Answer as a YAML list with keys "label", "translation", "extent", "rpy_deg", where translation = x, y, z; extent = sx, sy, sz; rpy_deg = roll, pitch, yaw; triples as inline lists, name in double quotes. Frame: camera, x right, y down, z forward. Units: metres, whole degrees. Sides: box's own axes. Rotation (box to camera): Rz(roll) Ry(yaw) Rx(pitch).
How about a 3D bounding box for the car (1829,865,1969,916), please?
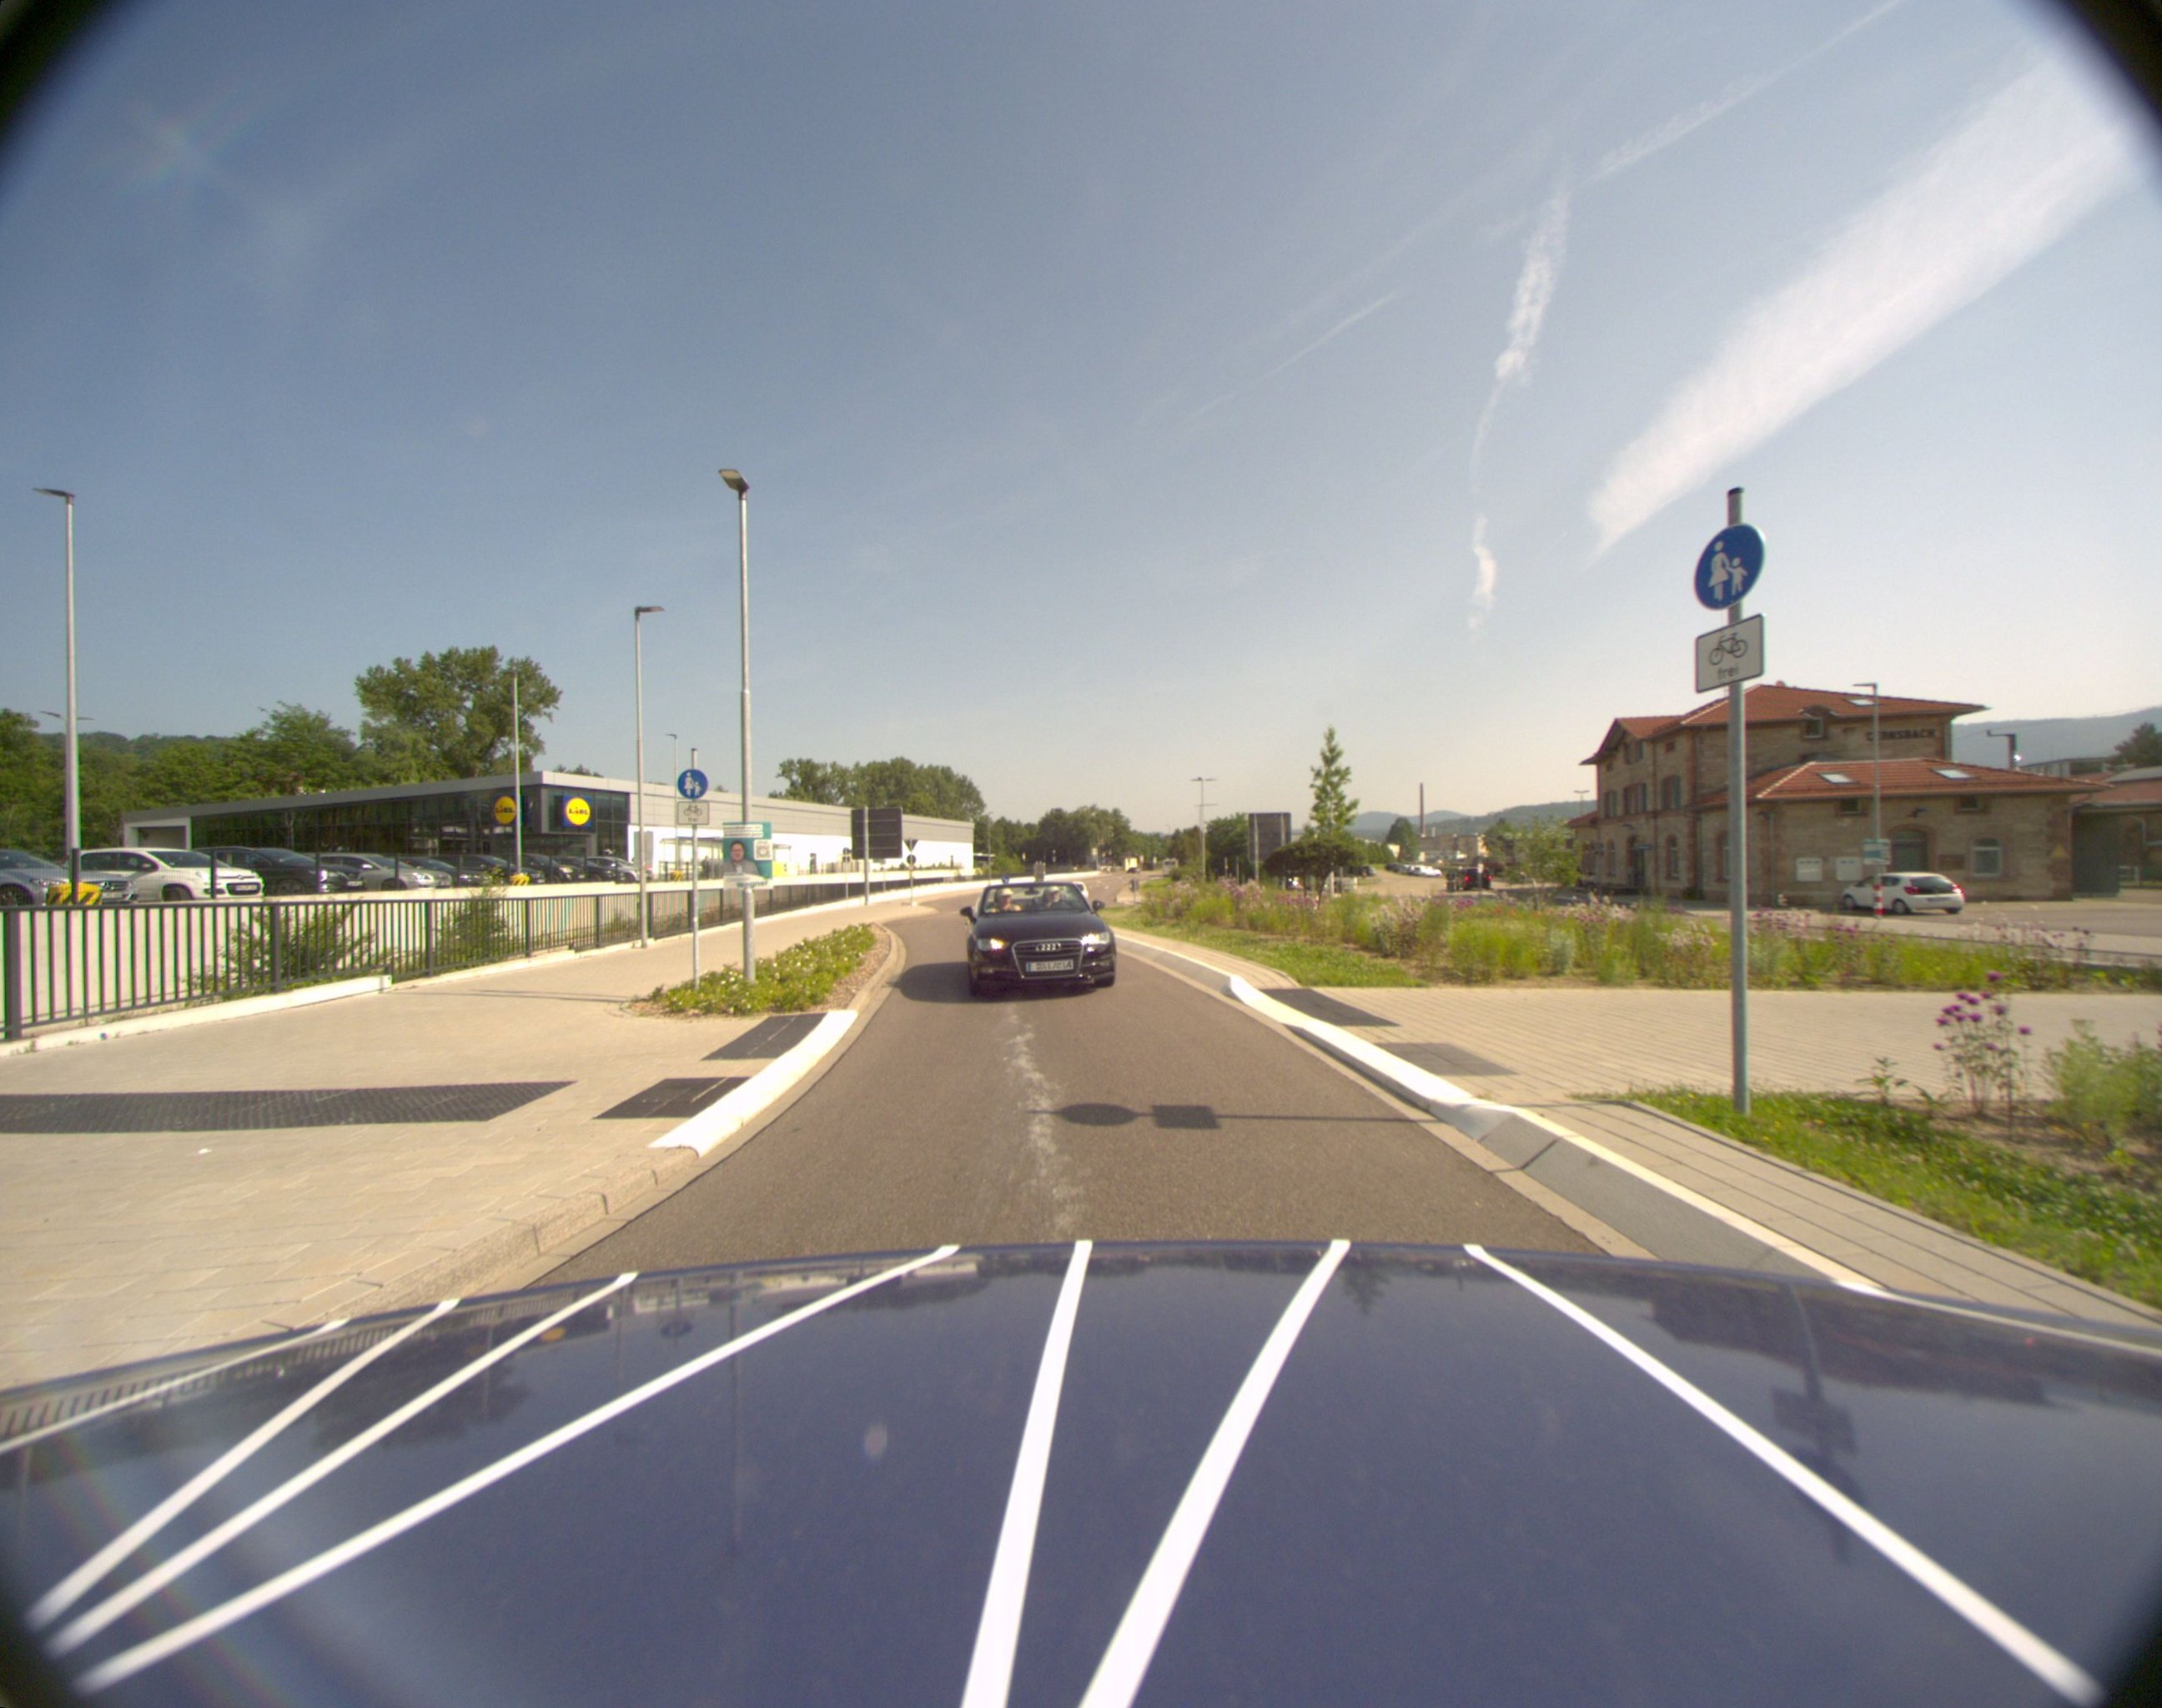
- label: "car"
  translation: [30.142, 1.297, 28.150]
  extent: [1.677, 1.559, 3.654]
  rpy_deg: [-3, 1, 11]

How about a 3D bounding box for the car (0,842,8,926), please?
- label: "car"
  translation: [-22.071, 0.655, 13.161]
  extent: [4.021, 1.564, 1.779]
  rpy_deg: [-3, -1, -6]

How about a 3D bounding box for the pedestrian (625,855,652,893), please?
- label: "pedestrian"
  translation: [-24.289, 1.083, 41.682]
  extent: [0.832, 2.001, 0.864]
  rpy_deg: [-3, 0, 7]

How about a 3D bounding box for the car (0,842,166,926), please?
- label: "car"
  translation: [-21.985, 0.686, 15.555]
  extent: [4.021, 1.564, 1.779]
  rpy_deg: [-3, -1, -6]

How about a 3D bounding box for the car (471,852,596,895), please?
- label: "car"
  translation: [-23.725, 0.838, 33.048]
  extent: [4.000, 1.564, 1.703]
  rpy_deg: [-3, -1, -8]

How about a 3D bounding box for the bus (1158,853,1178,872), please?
- label: "bus"
  translation: [15.136, 1.447, 131.561]
  extent: [2.865, 3.173, 9.125]
  rpy_deg: [-2, -1, 10]

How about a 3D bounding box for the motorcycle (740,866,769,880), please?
- label: "motorcycle"
  translation: [-23.204, 1.355, 53.999]
  extent: [1.881, 0.858, 0.626]
  rpy_deg: [-3, -1, -26]

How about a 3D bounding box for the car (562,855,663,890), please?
- label: "car"
  translation: [-24.742, 0.963, 40.220]
  extent: [4.131, 1.564, 1.703]
  rpy_deg: [-3, -1, -8]

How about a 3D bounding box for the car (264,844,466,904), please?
- label: "car"
  translation: [-22.488, 0.628, 24.028]
  extent: [4.416, 1.564, 1.703]
  rpy_deg: [-3, -1, -8]

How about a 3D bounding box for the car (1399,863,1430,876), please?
- label: "car"
  translation: [51.574, 2.374, 117.490]
  extent: [3.998, 1.717, 1.838]
  rpy_deg: [-3, -1, -2]

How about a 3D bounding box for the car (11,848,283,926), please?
- label: "car"
  translation: [-22.496, 0.761, 18.465]
  extent: [4.000, 1.564, 1.703]
  rpy_deg: [-3, -1, -8]

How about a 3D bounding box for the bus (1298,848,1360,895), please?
- label: "bus"
  translation: [20.036, 1.357, 62.000]
  extent: [2.585, 3.309, 10.595]
  rpy_deg: [-3, -1, 7]

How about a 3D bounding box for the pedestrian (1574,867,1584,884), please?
- label: "pedestrian"
  translation: [34.647, 1.481, 52.863]
  extent: [0.371, 1.155, 0.507]
  rpy_deg: [-3, 0, 17]

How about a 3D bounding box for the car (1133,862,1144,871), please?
- label: "car"
  translation: [12.525, 2.672, 164.749]
  extent: [1.885, 1.783, 4.000]
  rpy_deg: [-3, -1, -2]

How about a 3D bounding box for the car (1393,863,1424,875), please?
- label: "car"
  translation: [52.691, 2.380, 122.258]
  extent: [3.998, 1.717, 1.838]
  rpy_deg: [-3, -1, -2]

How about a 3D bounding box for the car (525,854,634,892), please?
- label: "car"
  translation: [-24.161, 0.920, 36.727]
  extent: [4.000, 1.564, 1.703]
  rpy_deg: [-3, -1, -8]

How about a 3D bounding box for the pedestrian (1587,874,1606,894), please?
- label: "pedestrian"
  translation: [31.576, 1.832, 46.583]
  extent: [0.789, 1.155, 0.507]
  rpy_deg: [-4, 0, 17]

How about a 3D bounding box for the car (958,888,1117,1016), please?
- label: "car"
  translation: [-0.781, 1.163, 10.509]
  extent: [1.722, 1.314, 4.222]
  rpy_deg: [-2, -2, -9]

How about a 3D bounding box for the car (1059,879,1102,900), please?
- label: "car"
  translation: [-0.084, 2.635, 56.363]
  extent: [1.784, 1.389, 3.994]
  rpy_deg: [-3, -1, -21]

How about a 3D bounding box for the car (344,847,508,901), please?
- label: "car"
  translation: [-22.806, 0.685, 26.600]
  extent: [4.000, 1.564, 1.703]
  rpy_deg: [-3, -1, -8]

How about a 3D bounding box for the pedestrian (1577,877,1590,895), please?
- label: "pedestrian"
  translation: [32.180, 2.040, 48.687]
  extent: [0.511, 1.155, 0.507]
  rpy_deg: [-3, 0, 17]

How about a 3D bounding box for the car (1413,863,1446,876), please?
- label: "car"
  translation: [51.648, 2.297, 112.690]
  extent: [3.998, 1.717, 1.838]
  rpy_deg: [-3, -1, -2]

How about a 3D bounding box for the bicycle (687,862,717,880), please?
- label: "bicycle"
  translation: [-24.122, 1.047, 48.397]
  extent: [0.626, 1.087, 1.880]
  rpy_deg: [-3, -1, 9]

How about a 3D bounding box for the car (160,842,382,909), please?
- label: "car"
  translation: [-22.562, 0.591, 21.321]
  extent: [4.000, 1.564, 1.703]
  rpy_deg: [-3, -1, -8]

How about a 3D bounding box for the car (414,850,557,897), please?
- label: "car"
  translation: [-23.198, 0.756, 29.741]
  extent: [4.000, 1.564, 1.703]
  rpy_deg: [-3, -1, -8]

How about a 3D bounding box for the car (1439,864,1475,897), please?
- label: "car"
  translation: [25.932, 1.805, 52.511]
  extent: [1.974, 1.953, 5.166]
  rpy_deg: [-4, -1, 25]
